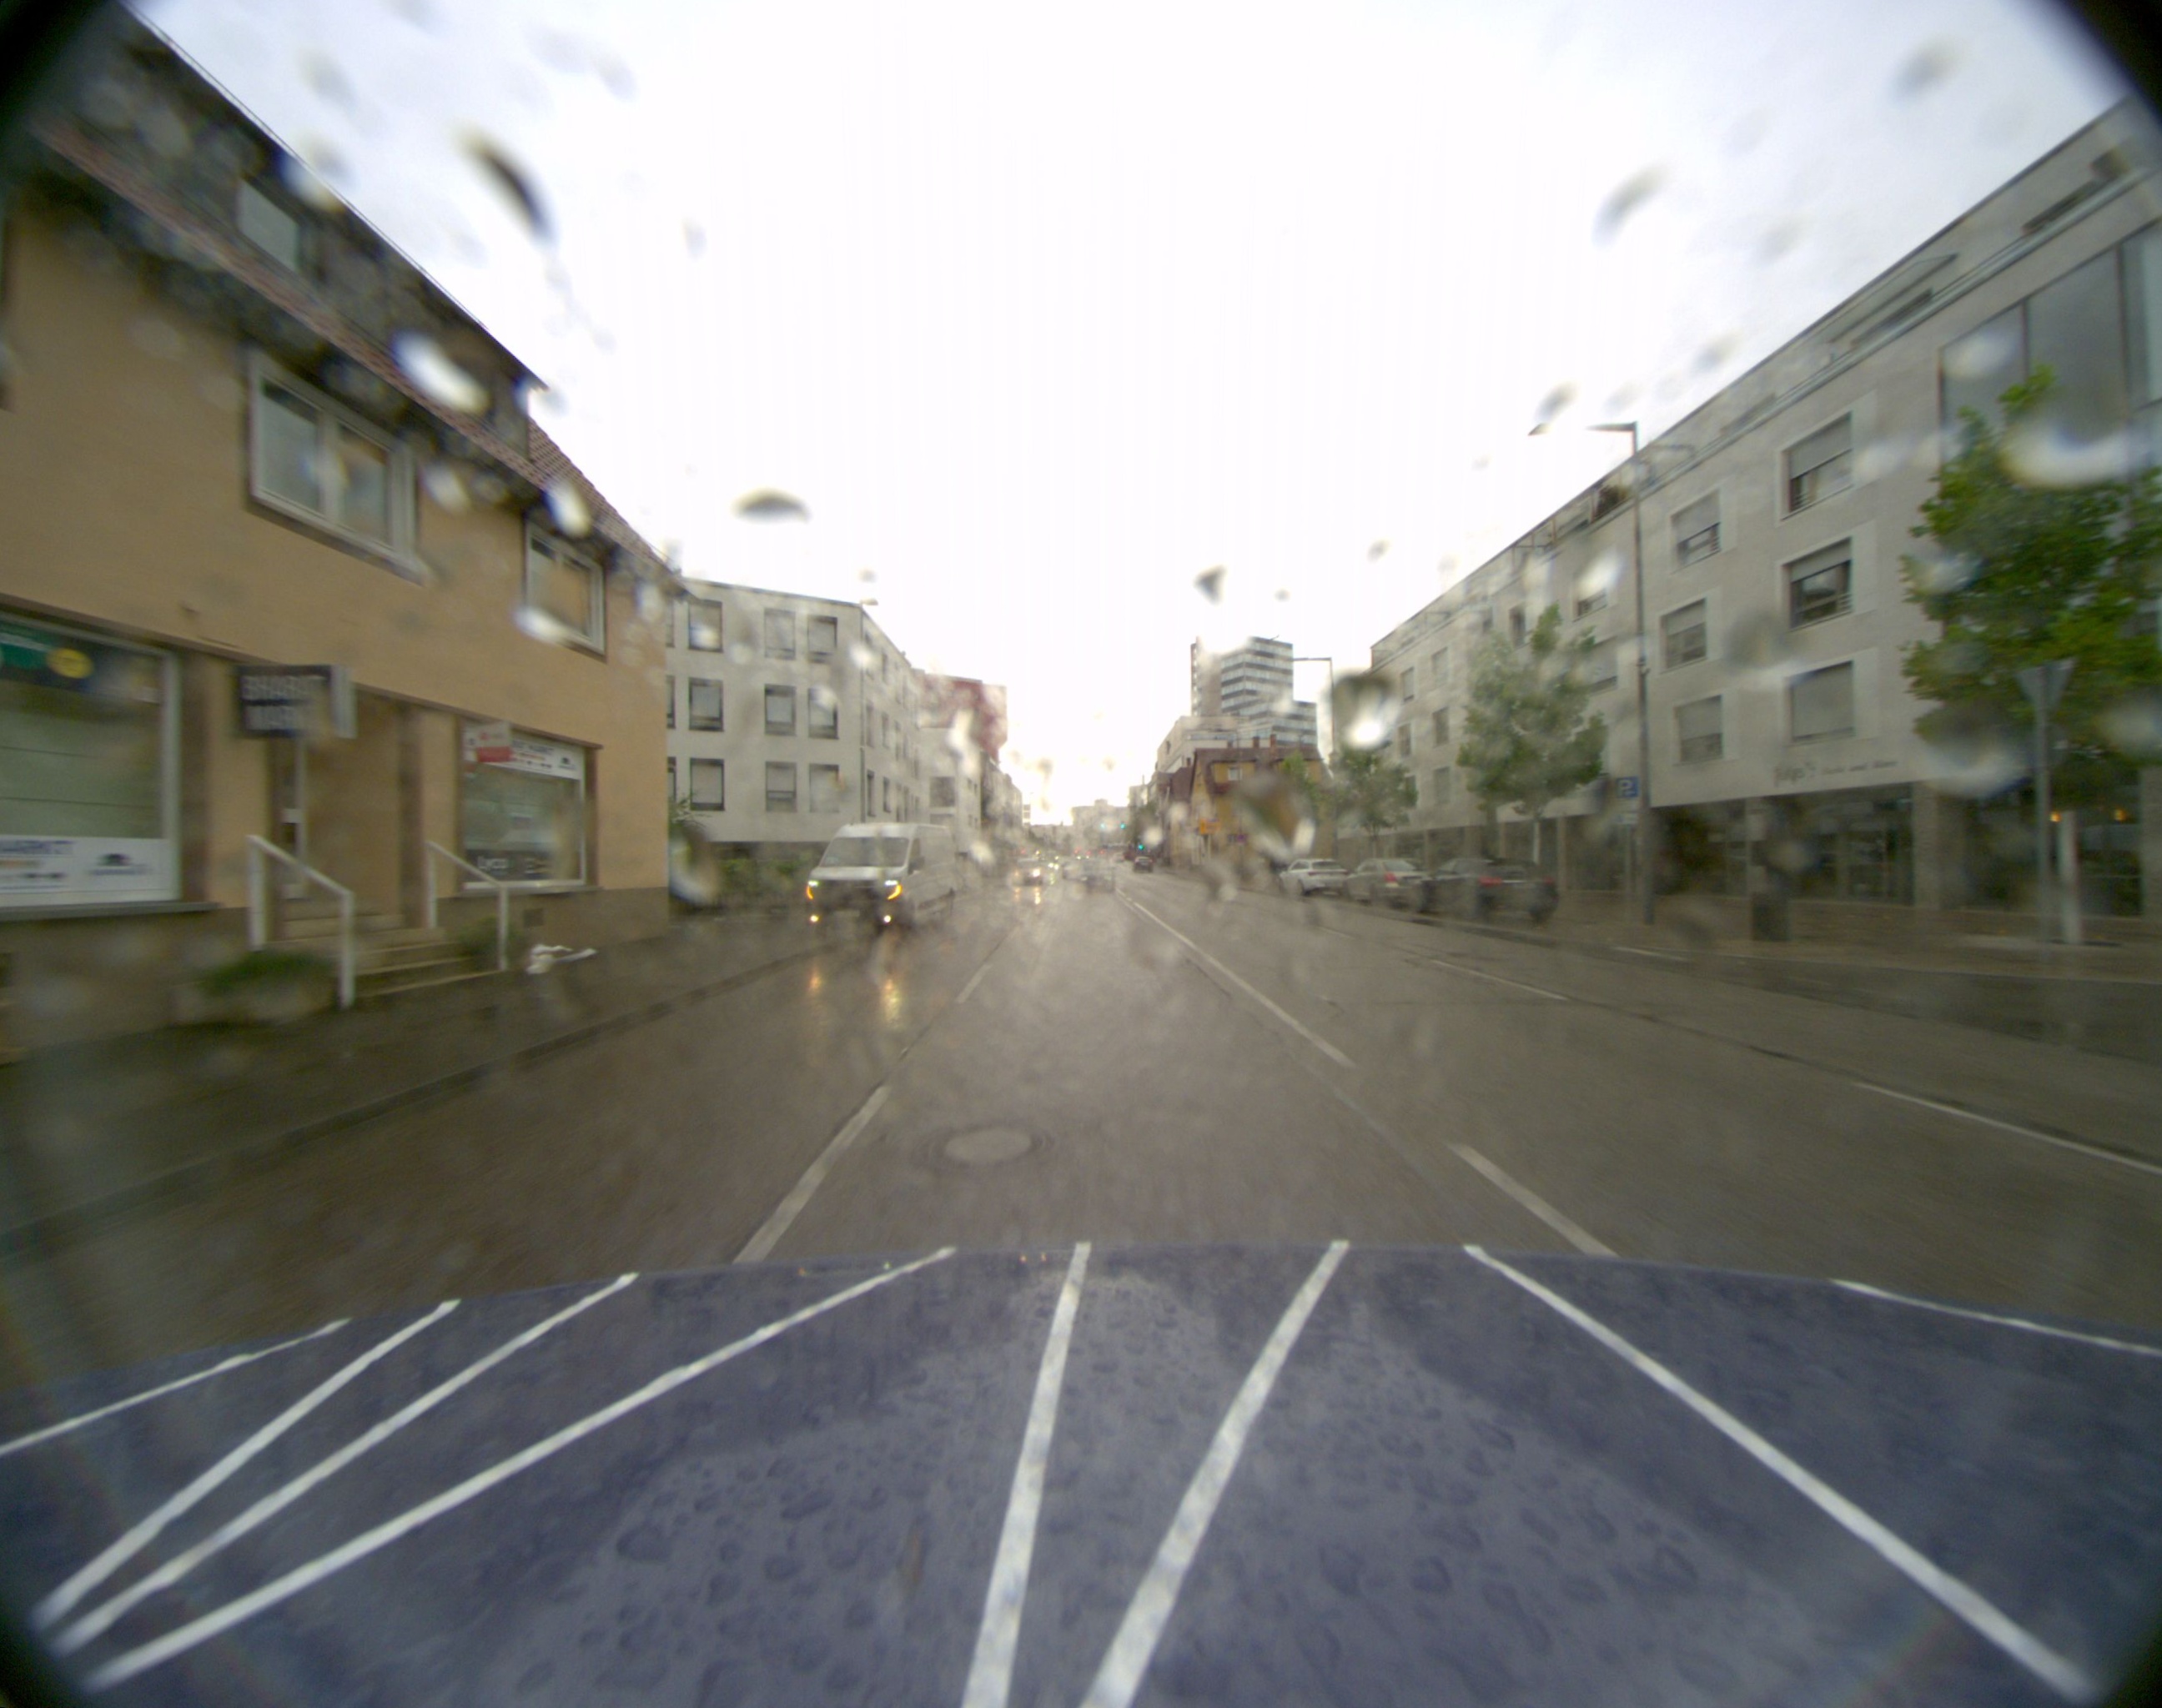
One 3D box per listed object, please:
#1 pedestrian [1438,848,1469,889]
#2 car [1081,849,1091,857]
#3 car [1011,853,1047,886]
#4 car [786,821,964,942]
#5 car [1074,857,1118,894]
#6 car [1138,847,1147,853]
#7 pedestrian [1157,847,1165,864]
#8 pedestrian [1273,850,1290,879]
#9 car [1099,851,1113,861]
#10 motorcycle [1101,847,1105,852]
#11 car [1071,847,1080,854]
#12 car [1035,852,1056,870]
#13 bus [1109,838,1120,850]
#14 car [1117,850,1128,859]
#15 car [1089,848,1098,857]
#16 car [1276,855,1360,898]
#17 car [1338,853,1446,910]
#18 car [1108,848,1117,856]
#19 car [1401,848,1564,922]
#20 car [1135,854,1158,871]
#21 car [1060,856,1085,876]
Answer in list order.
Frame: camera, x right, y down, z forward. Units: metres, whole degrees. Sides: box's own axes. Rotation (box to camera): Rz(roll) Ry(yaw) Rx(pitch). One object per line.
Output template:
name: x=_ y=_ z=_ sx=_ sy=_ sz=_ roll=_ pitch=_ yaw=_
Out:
pedestrian: x=15.920 y=0.608 z=32.522 sx=0.811 sy=1.728 sz=1.003 roll=0 pitch=2 yaw=-1
car: x=0.854 y=-0.178 z=134.255 sx=1.720 sy=1.442 sz=4.197 roll=0 pitch=2 yaw=0
car: x=-3.071 y=0.880 z=45.442 sx=2.017 sy=1.613 sz=4.357 roll=-2 pitch=3 yaw=-3
car: x=-4.533 y=0.459 z=18.148 sx=2.296 sy=2.368 sz=6.623 roll=0 pitch=2 yaw=1
car: x=0.615 y=0.899 z=33.670 sx=1.688 sy=1.373 sz=3.791 roll=-2 pitch=2 yaw=-3
car: x=14.387 y=-0.897 z=177.104 sx=1.757 sy=1.402 sz=3.729 roll=0 pitch=2 yaw=0
pedestrian: x=9.377 y=0.204 z=89.464 sx=0.663 sy=1.910 sz=0.946 roll=-3 pitch=2 yaw=-8
pedestrian: x=12.305 y=0.639 z=46.668 sx=0.803 sy=1.778 sz=0.881 roll=0 pitch=2 yaw=-1
car: x=3.690 y=0.248 z=112.765 sx=1.772 sy=1.406 sz=4.524 roll=0 pitch=2 yaw=-1
motorcycle: x=5.372 y=-1.169 z=186.457 sx=0.910 sy=1.276 sz=2.184 roll=0 pitch=1 yaw=0
car: x=-1.273 y=-0.826 z=179.918 sx=1.710 sy=1.508 sz=4.391 roll=0 pitch=2 yaw=3
car: x=-3.643 y=0.721 z=78.348 sx=2.059 sy=1.638 sz=4.477 roll=-1 pitch=2 yaw=-4
bus: x=9.251 y=-2.884 z=213.052 sx=2.899 sy=3.082 sz=11.997 roll=0 pitch=2 yaw=1
car: x=6.897 y=0.107 z=127.313 sx=1.653 sy=1.410 sz=4.137 roll=2 pitch=2 yaw=0
car: x=2.555 y=-0.282 z=153.706 sx=1.883 sy=1.600 sz=4.717 roll=0 pitch=2 yaw=1
car: x=9.262 y=0.828 z=30.123 sx=1.800 sy=1.454 sz=4.476 roll=-1 pitch=2 yaw=-2
car: x=9.710 y=0.787 z=24.106 sx=1.695 sy=1.501 sz=4.577 roll=0 pitch=2 yaw=2
car: x=7.003 y=-0.538 z=167.848 sx=2.005 sy=1.608 sz=4.948 roll=0 pitch=2 yaw=3
car: x=9.532 y=0.671 z=18.483 sx=1.591 sy=1.573 sz=4.470 roll=0 pitch=0 yaw=0
car: x=6.286 y=0.779 z=73.629 sx=1.885 sy=1.515 sz=4.183 roll=0 pitch=2 yaw=0
car: x=-0.658 y=0.845 z=56.144 sx=1.662 sy=1.300 sz=3.992 roll=0 pitch=2 yaw=-3
